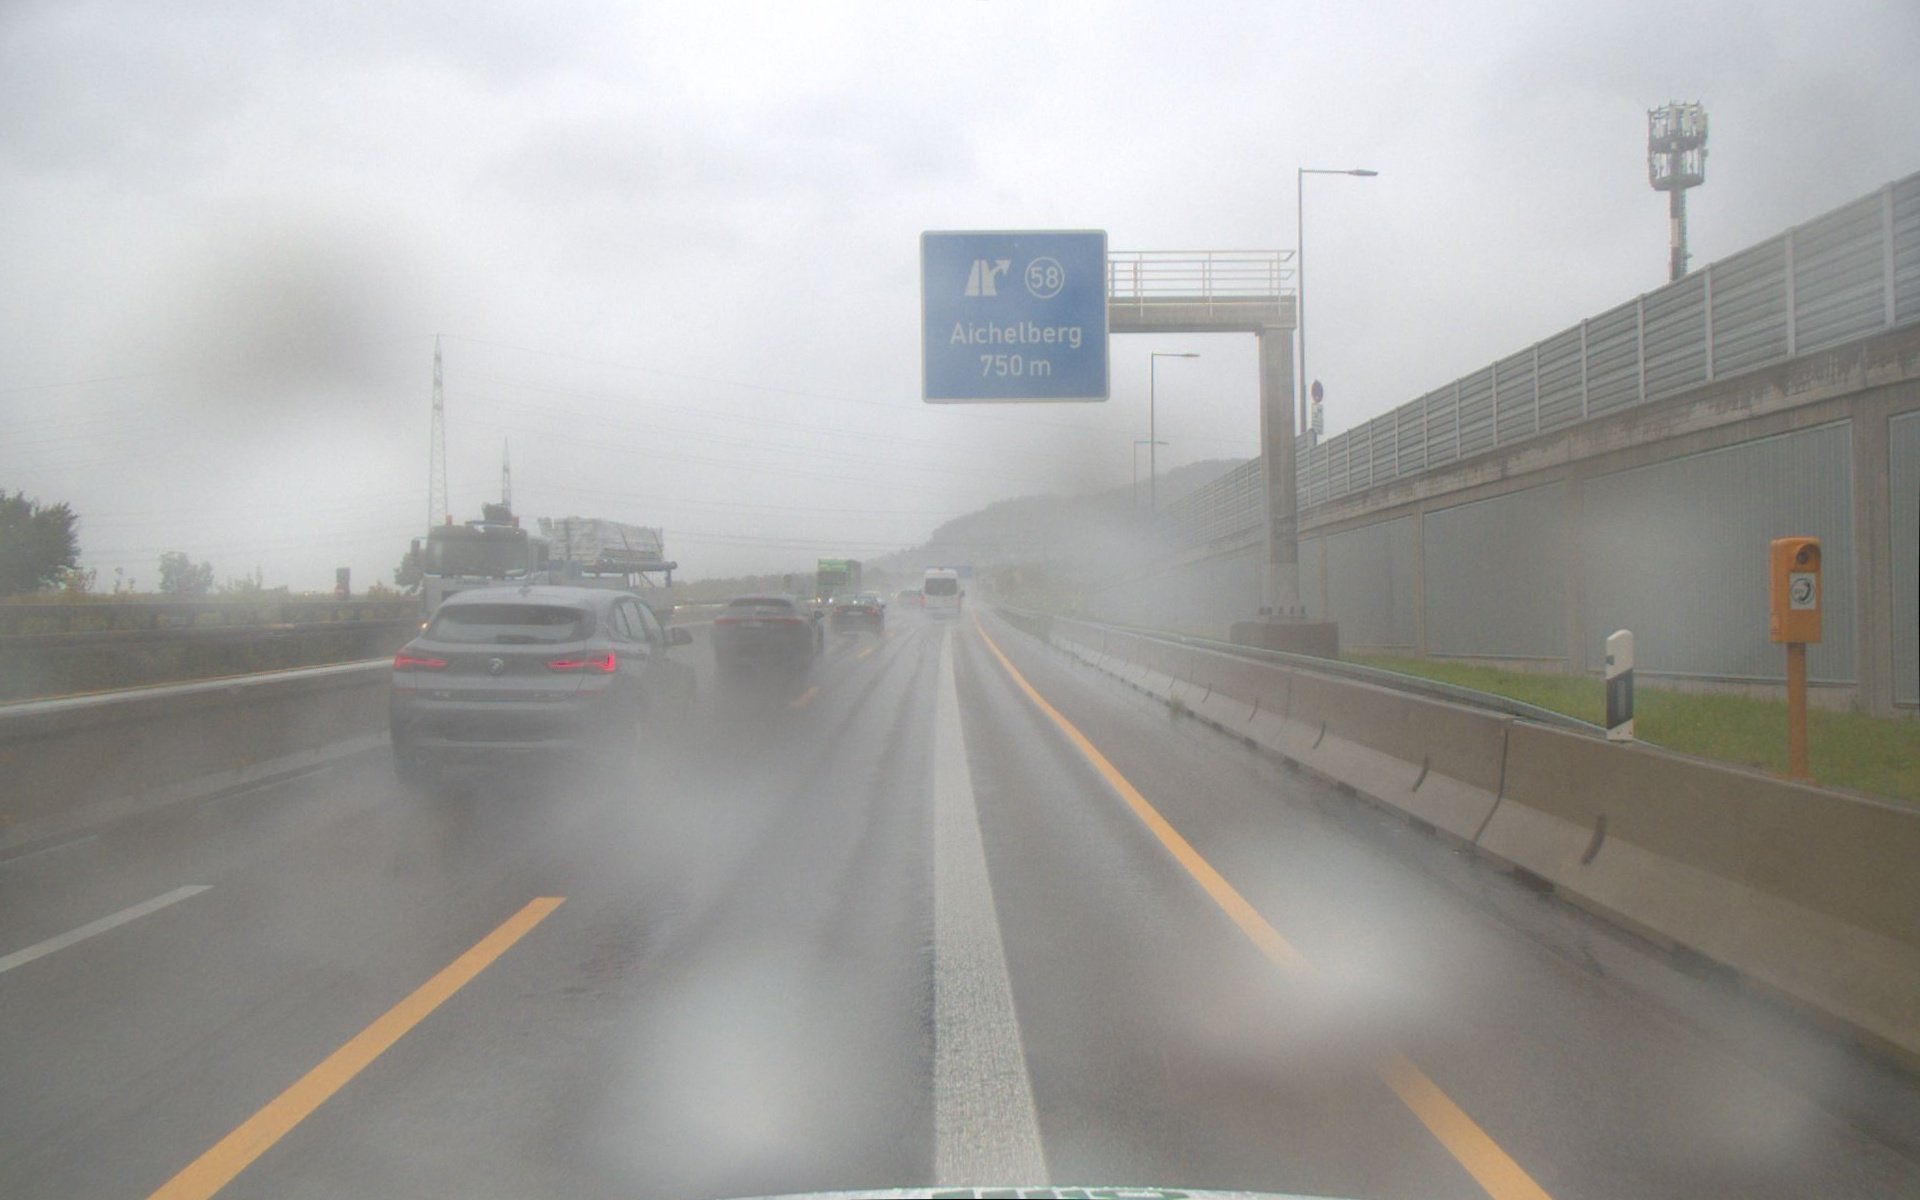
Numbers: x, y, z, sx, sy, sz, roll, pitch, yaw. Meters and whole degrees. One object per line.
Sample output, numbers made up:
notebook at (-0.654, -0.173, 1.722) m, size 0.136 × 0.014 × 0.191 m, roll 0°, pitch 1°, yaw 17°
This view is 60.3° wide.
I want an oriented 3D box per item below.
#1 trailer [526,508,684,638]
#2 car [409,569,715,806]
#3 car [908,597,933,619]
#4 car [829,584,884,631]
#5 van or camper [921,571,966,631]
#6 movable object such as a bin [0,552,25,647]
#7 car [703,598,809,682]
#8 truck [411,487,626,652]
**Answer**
trailer at (-10.276, -0.749, 48.925) m, size 2.607 × 3.421 × 9.713 m, roll 0°, pitch 0°, yaw 0°
car at (-3.094, 0.650, 13.804) m, size 1.667 × 1.626 × 4.841 m, roll 0°, pitch -1°, yaw -4°
car at (-2.898, 0.578, 122.308) m, size 1.537 × 1.506 × 2.817 m, roll -2°, pitch -1°, yaw -7°
car at (-3.668, 0.250, 58.343) m, size 1.808 × 1.517 × 4.258 m, roll -2°, pitch 0°, yaw -4°
van or camper at (-0.827, 0.086, 80.447) m, size 1.957 × 2.826 × 4.046 m, roll 0°, pitch -1°, yaw -4°
movable object such as a bin at (-41.650, -0.063, 67.094) m, size 2.673 × 3.988 × 8.461 m, roll 0°, pitch -1°, yaw -1°
car at (-3.910, 0.768, 32.243) m, size 1.808 × 1.517 × 4.258 m, roll 0°, pitch -1°, yaw -4°
truck at (-10.177, -0.666, 39.269) m, size 2.585 × 3.406 × 9.551 m, roll 0°, pitch 0°, yaw 0°
